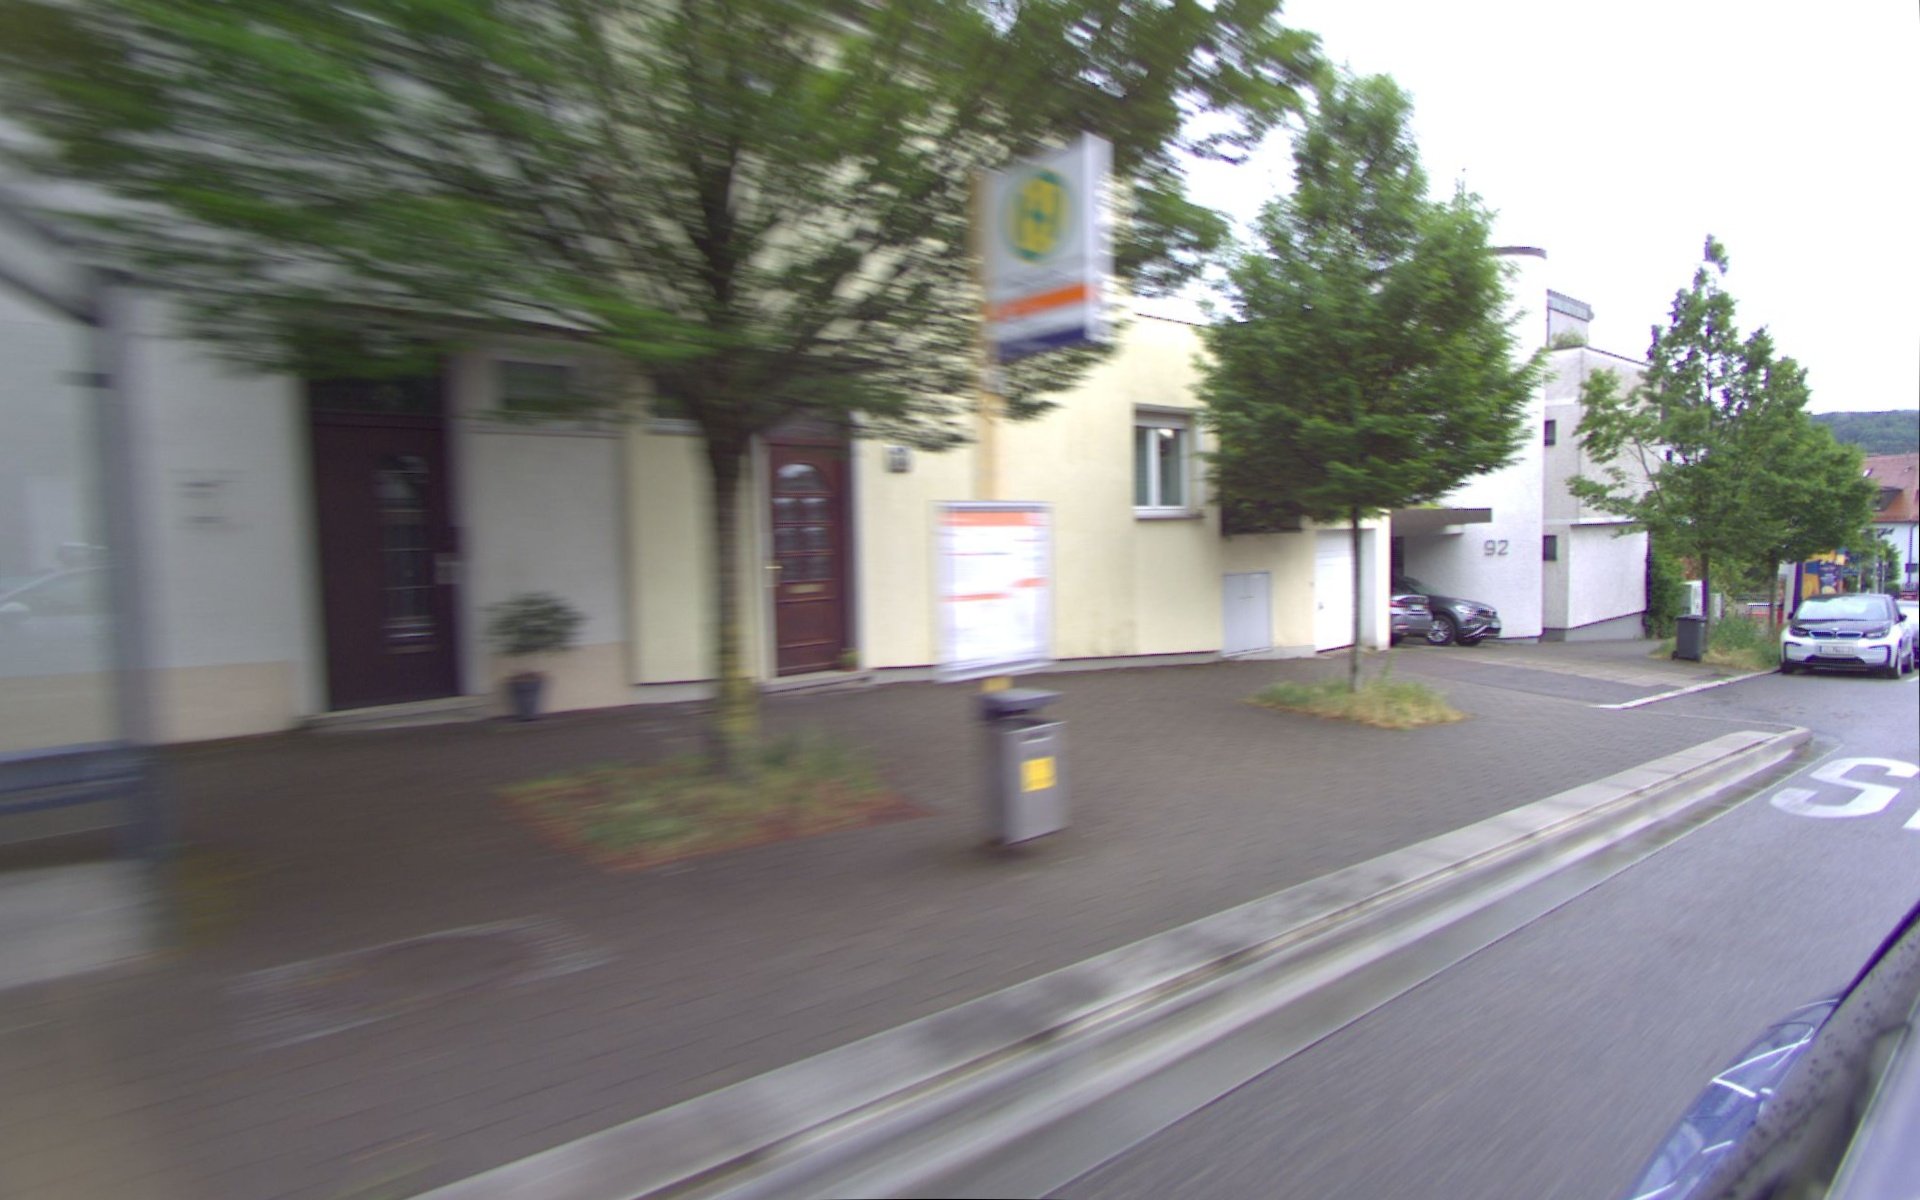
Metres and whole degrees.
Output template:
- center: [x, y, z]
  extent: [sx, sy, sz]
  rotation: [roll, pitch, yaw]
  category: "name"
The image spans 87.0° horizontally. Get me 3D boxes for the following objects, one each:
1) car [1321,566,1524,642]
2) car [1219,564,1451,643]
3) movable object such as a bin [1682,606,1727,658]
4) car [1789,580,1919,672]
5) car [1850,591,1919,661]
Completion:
- center: [10.193, 0.046, 22.477]
  extent: [1.750, 1.526, 3.708]
  rotation: [1, 1, -39]
  category: "car"
- center: [7.828, 0.048, 21.472]
  extent: [1.798, 1.499, 4.307]
  rotation: [1, 0, -39]
  category: "car"
- center: [14.939, 0.630, 20.305]
  extent: [0.593, 0.986, 0.487]
  rotation: [1, 5, -35]
  category: "movable object such as a bin"
- center: [17.820, 0.465, 19.958]
  extent: [4.049, 1.628, 1.731]
  rotation: [0, 0, -43]
  category: "car"
- center: [21.930, 0.549, 23.301]
  extent: [4.800, 1.457, 1.780]
  rotation: [0, 1, -44]
  category: "car"
